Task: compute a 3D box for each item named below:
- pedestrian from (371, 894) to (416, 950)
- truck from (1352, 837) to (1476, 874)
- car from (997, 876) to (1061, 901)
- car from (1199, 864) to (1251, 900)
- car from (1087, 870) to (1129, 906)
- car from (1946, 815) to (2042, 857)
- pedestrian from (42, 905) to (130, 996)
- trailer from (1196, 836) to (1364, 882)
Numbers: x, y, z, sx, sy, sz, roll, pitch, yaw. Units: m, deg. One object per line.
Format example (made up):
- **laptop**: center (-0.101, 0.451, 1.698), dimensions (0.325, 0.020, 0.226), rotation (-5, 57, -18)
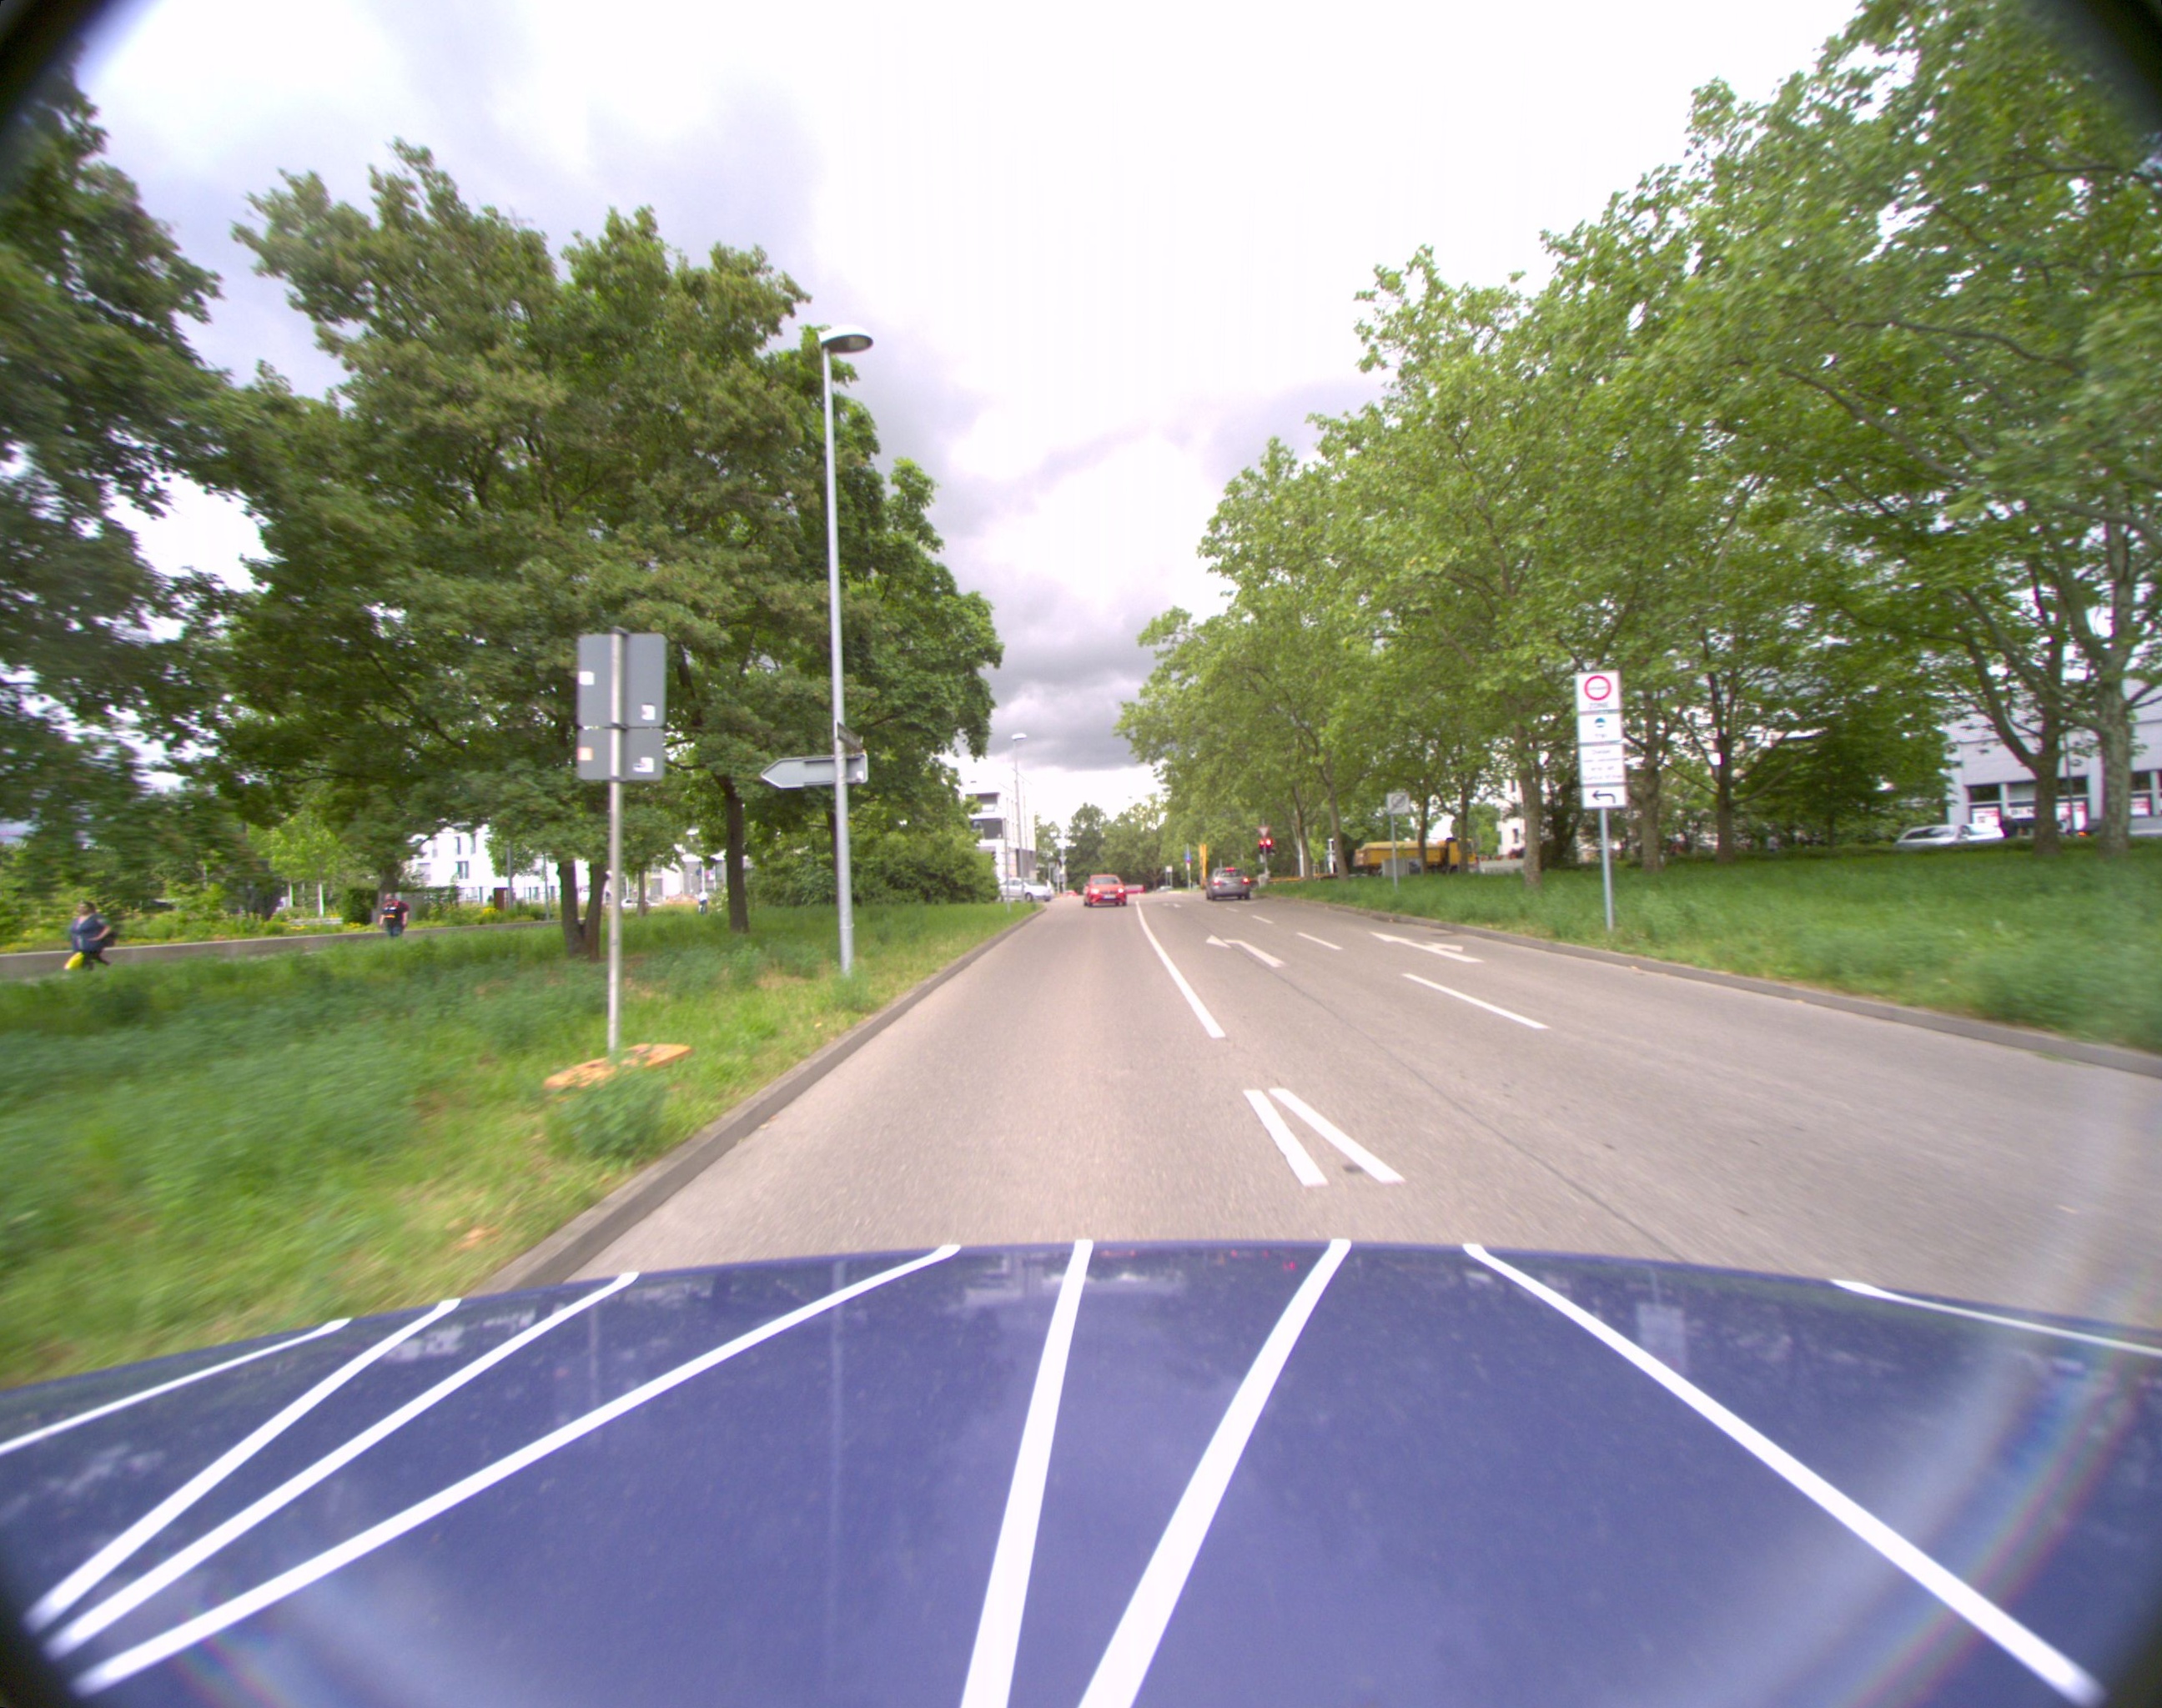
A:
- **pedestrian**: center (-18.576, 1.828, 20.551), dimensions (0.677, 1.407, 0.666), rotation (-3, 1, -25)
- **truck**: center (22.852, 0.085, 52.422), dimensions (7.515, 2.200, 2.083), rotation (-2, 1, 5)
- **car**: center (-3.429, 2.210, 49.519), dimensions (3.989, 1.477, 1.831), rotation (-2, 1, 42)
- **car**: center (6.980, 1.331, 37.136), dimensions (1.758, 1.507, 3.999), rotation (-2, 1, 1)
- **car**: center (1.181, 1.519, 34.760), dimensions (1.758, 1.506, 4.001), rotation (-2, -1, 1)
- **car**: center (35.250, -0.700, 29.331), dimensions (4.005, 1.455, 1.650), rotation (-3, 1, -29)
- **pedestrian**: center (-18.815, 1.810, 14.380), dimensions (0.675, 1.597, 0.667), rotation (-2, 1, 1)
- **trailer**: center (13.782, 0.352, 53.246), dimensions (11.075, 2.789, 2.083), rotation (-2, 1, 5)
